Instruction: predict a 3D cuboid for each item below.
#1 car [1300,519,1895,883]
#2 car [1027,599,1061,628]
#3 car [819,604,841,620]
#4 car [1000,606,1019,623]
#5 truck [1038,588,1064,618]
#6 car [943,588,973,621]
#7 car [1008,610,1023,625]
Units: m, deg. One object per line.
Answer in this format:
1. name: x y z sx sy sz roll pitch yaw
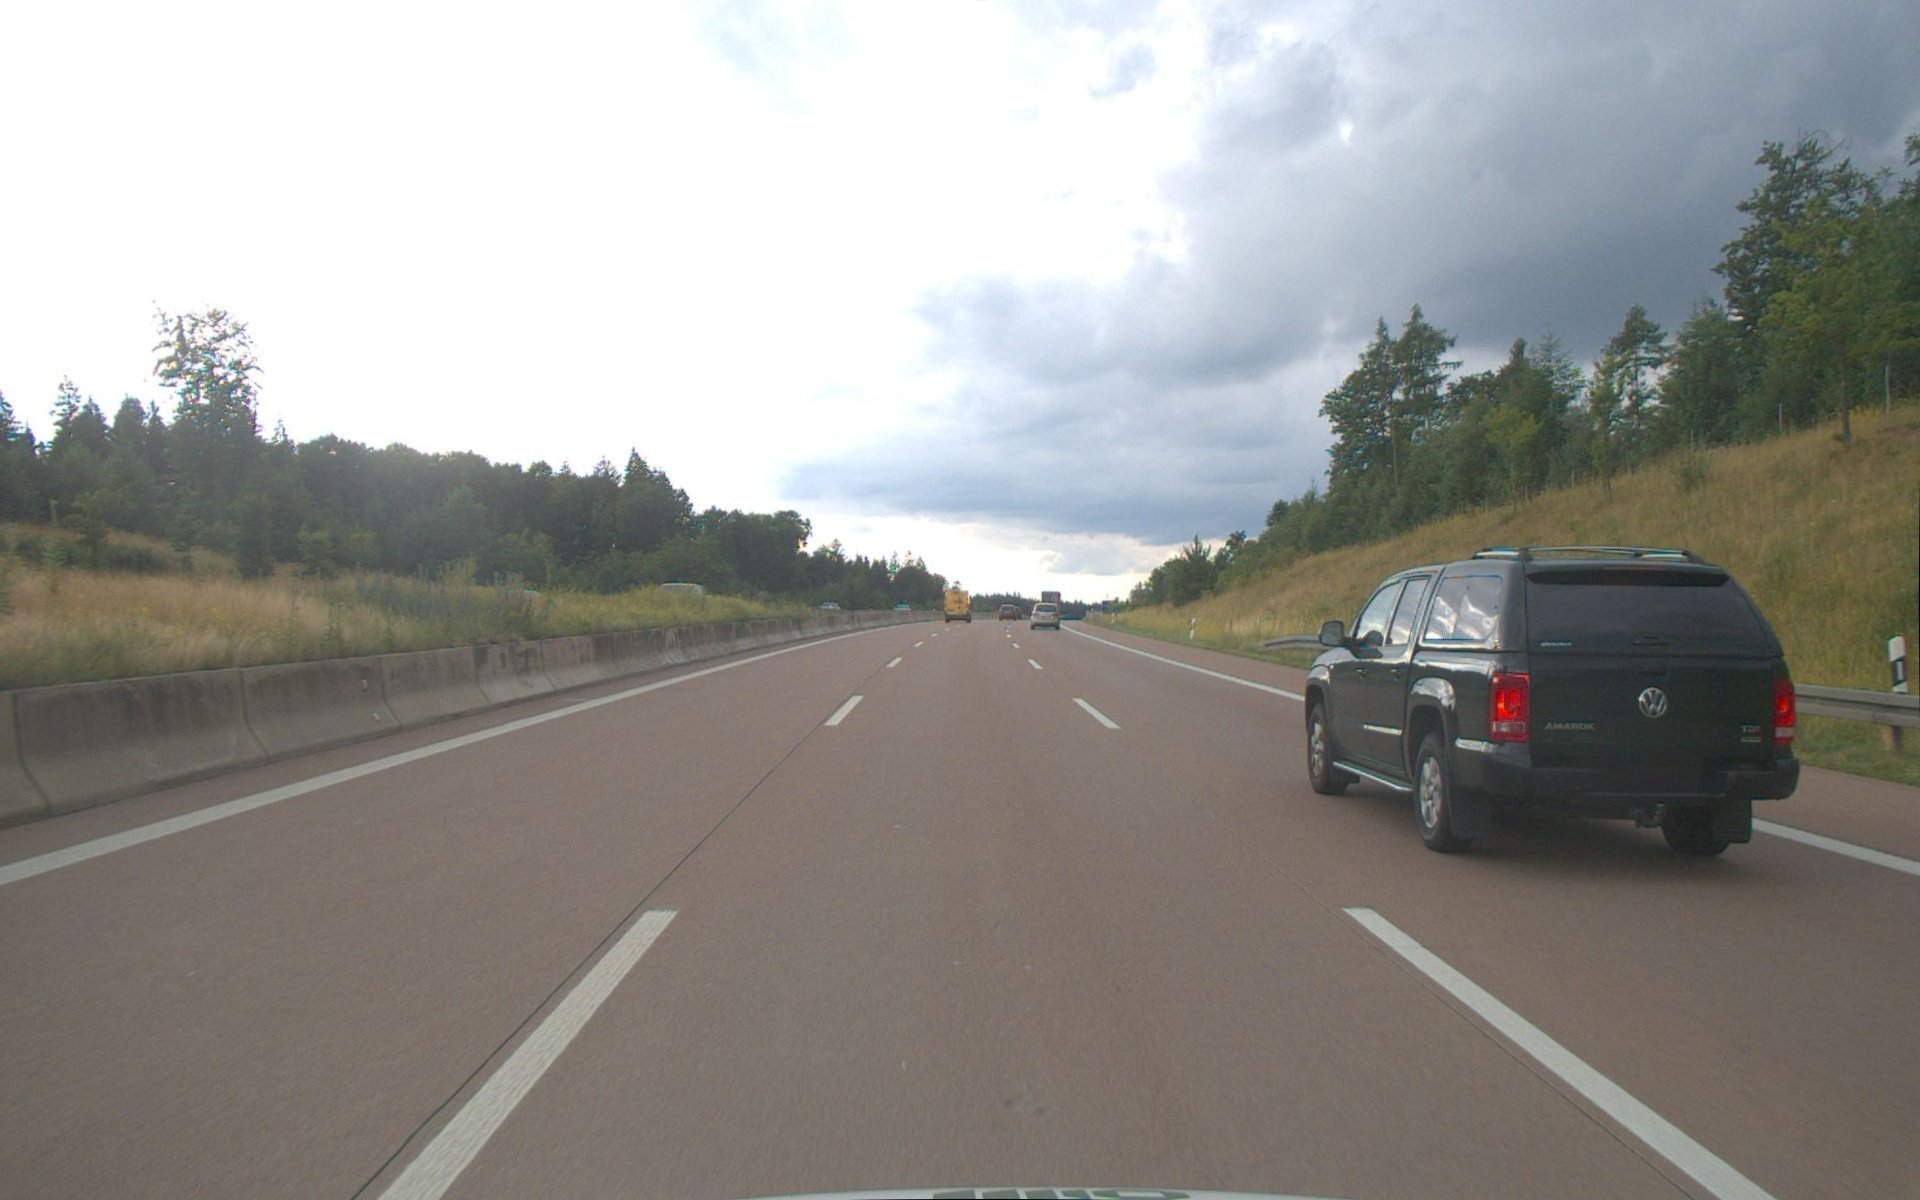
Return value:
1. car: 3.962 0.565 11.582 2.002 1.930 5.576 0 -1 0
2. car: 5.181 0.811 101.264 1.936 1.677 4.621 1 0 4
3. car: -13.081 1.213 166.863 1.696 1.552 4.412 1 -1 2
4. car: 5.339 1.578 178.070 1.848 1.795 4.784 0 -1 3
5. truck: 13.550 0.492 245.731 3.603 3.981 12.821 1 -1 4
6. car: -0.121 0.397 138.103 2.408 2.754 5.614 0 -1 1
7. car: 7.105 2.222 211.212 1.848 1.795 4.999 0 -1 3
